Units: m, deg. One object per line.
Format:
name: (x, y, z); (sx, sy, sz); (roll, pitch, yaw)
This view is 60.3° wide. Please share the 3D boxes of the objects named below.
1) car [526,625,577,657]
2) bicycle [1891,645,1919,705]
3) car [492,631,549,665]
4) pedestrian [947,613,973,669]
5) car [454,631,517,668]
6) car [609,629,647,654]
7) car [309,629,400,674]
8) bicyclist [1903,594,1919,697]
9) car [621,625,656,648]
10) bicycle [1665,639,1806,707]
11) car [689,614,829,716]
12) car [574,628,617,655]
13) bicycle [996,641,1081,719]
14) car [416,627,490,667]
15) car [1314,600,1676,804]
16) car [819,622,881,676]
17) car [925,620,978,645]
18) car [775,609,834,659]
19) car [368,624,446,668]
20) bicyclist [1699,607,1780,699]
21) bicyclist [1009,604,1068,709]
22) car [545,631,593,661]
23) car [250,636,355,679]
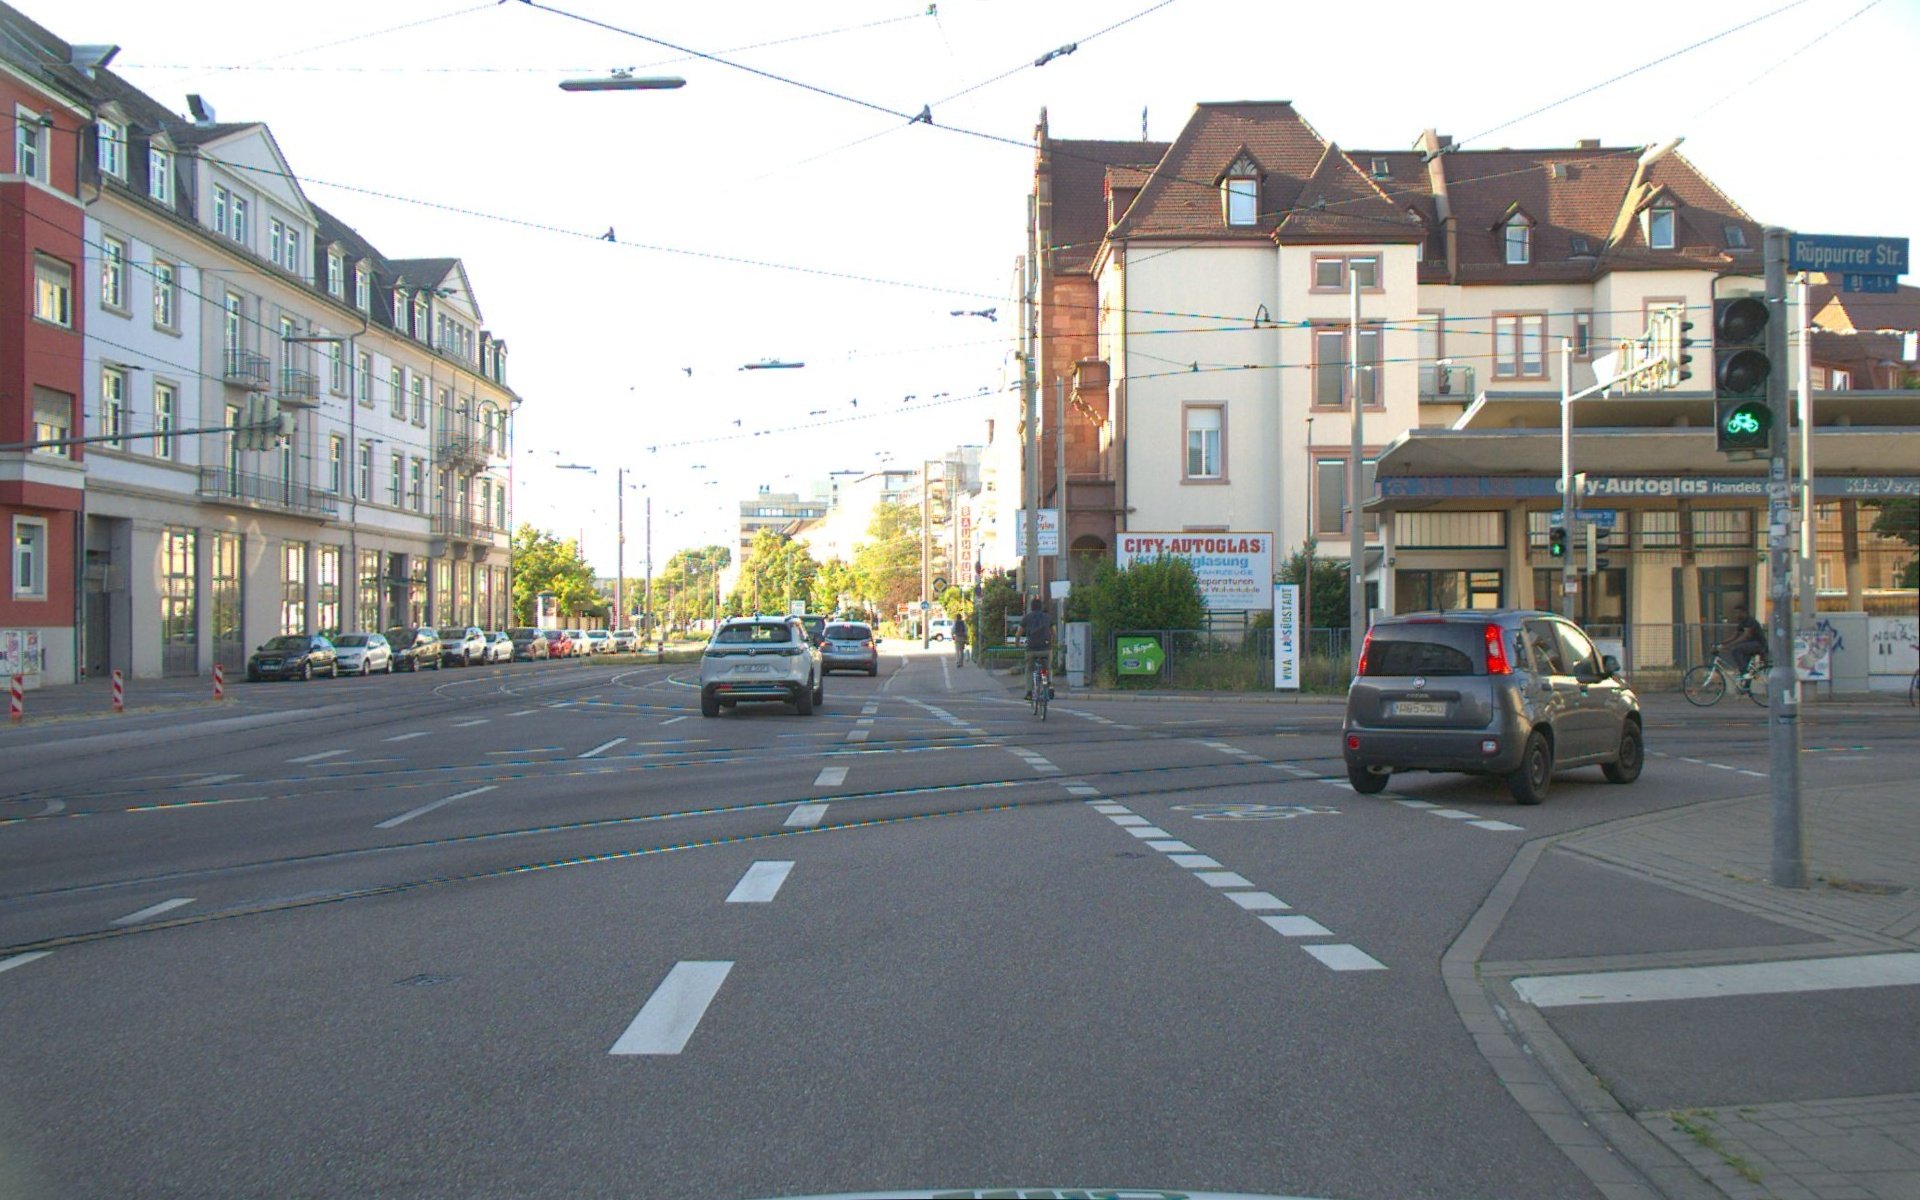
car: (-20.981, 2.103, 85.052); (1.684, 1.579, 3.999); (-1, -1, -1)
bicycle: (17.597, 1.311, 29.113); (1.999, 1.035, 0.727); (0, -1, 0)
car: (-20.970, 2.276, 79.089); (1.684, 1.579, 3.999); (-1, -1, -1)
pedestrian: (0.017, 1.364, 55.472); (0.857, 1.856, 1.184); (0, -1, 0)
car: (-21.207, 2.186, 74.010); (1.684, 1.579, 3.999); (-1, -1, -1)
car: (-21.831, 2.713, 108.898); (1.684, 1.579, 3.999); (-1, -1, -1)
car: (-20.868, 1.755, 57.158); (1.684, 1.477, 3.999); (-1, -1, -1)
bicyclist: (17.509, 0.796, 29.136); (1.225, 1.818, 0.910); (0, -1, -5)
car: (-22.303, 2.536, 114.907); (1.684, 1.579, 3.999); (-1, -1, -1)
bicycle: (13.325, 1.244, 28.467); (2.014, 1.145, 0.897); (0, -1, 8)
car: (-3.246, 1.022, 27.434); (1.908, 1.555, 4.088); (0, -1, -2)
car: (-21.584, 2.451, 98.047); (1.684, 1.579, 3.999); (0, -1, -1)
bicycle: (1.156, 1.166, 24.674); (0.758, 1.105, 1.864); (0, -1, -14)
car: (-21.075, 1.920, 68.878); (1.798, 1.579, 4.273); (-1, -1, -1)
car: (4.793, 0.791, 14.485); (1.704, 1.527, 3.980); (-1, -1, 39)
car: (-3.413, 1.514, 51.920); (1.777, 1.610, 3.998); (0, -1, -1)
car: (-0.729, 2.701, 137.793); (4.181, 2.049, 1.995); (0, -1, -10)
car: (-6.498, 1.423, 69.580); (2.128, 2.044, 4.806); (0, -1, -1)
car: (-20.731, 1.705, 62.114); (1.684, 1.579, 3.855); (-1, -1, -1)
bicyclist: (13.379, 0.907, 28.413); (1.025, 1.553, 0.880); (-1, -1, 8)
bicyclist: (1.189, 0.842, 24.910); (0.816, 1.552, 0.994); (0, -1, 7)
car: (-21.221, 2.488, 89.785); (1.684, 1.579, 3.999); (-1, -1, -1)
car: (-20.442, 1.760, 51.581); (1.684, 1.254, 3.999); (-1, -1, -1)
